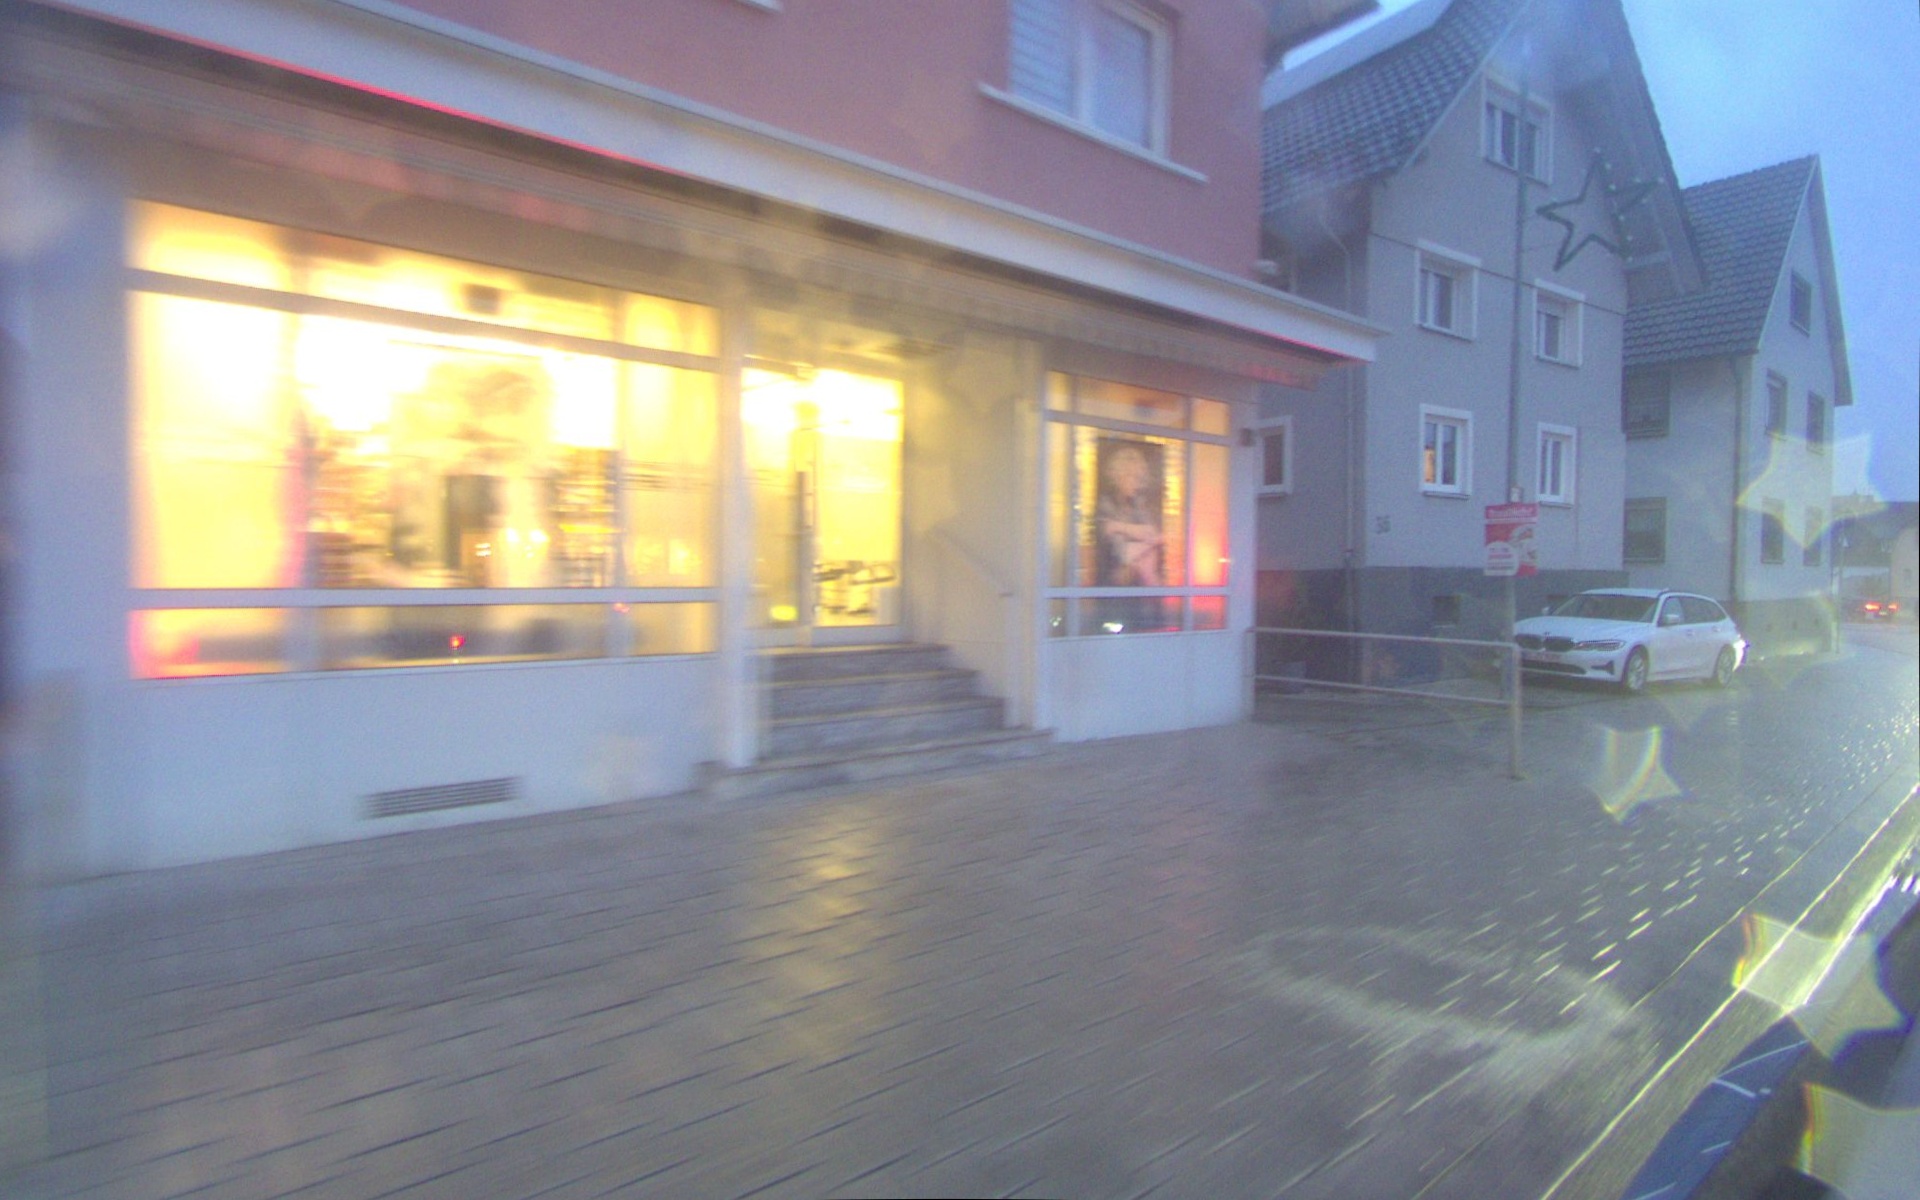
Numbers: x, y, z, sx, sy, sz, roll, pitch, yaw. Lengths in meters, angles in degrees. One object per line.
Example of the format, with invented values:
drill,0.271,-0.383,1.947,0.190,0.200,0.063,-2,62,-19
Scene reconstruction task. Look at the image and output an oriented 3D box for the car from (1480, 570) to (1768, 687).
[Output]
car,10.008,0.325,15.144,4.606,1.504,1.937,-1,1,-33
